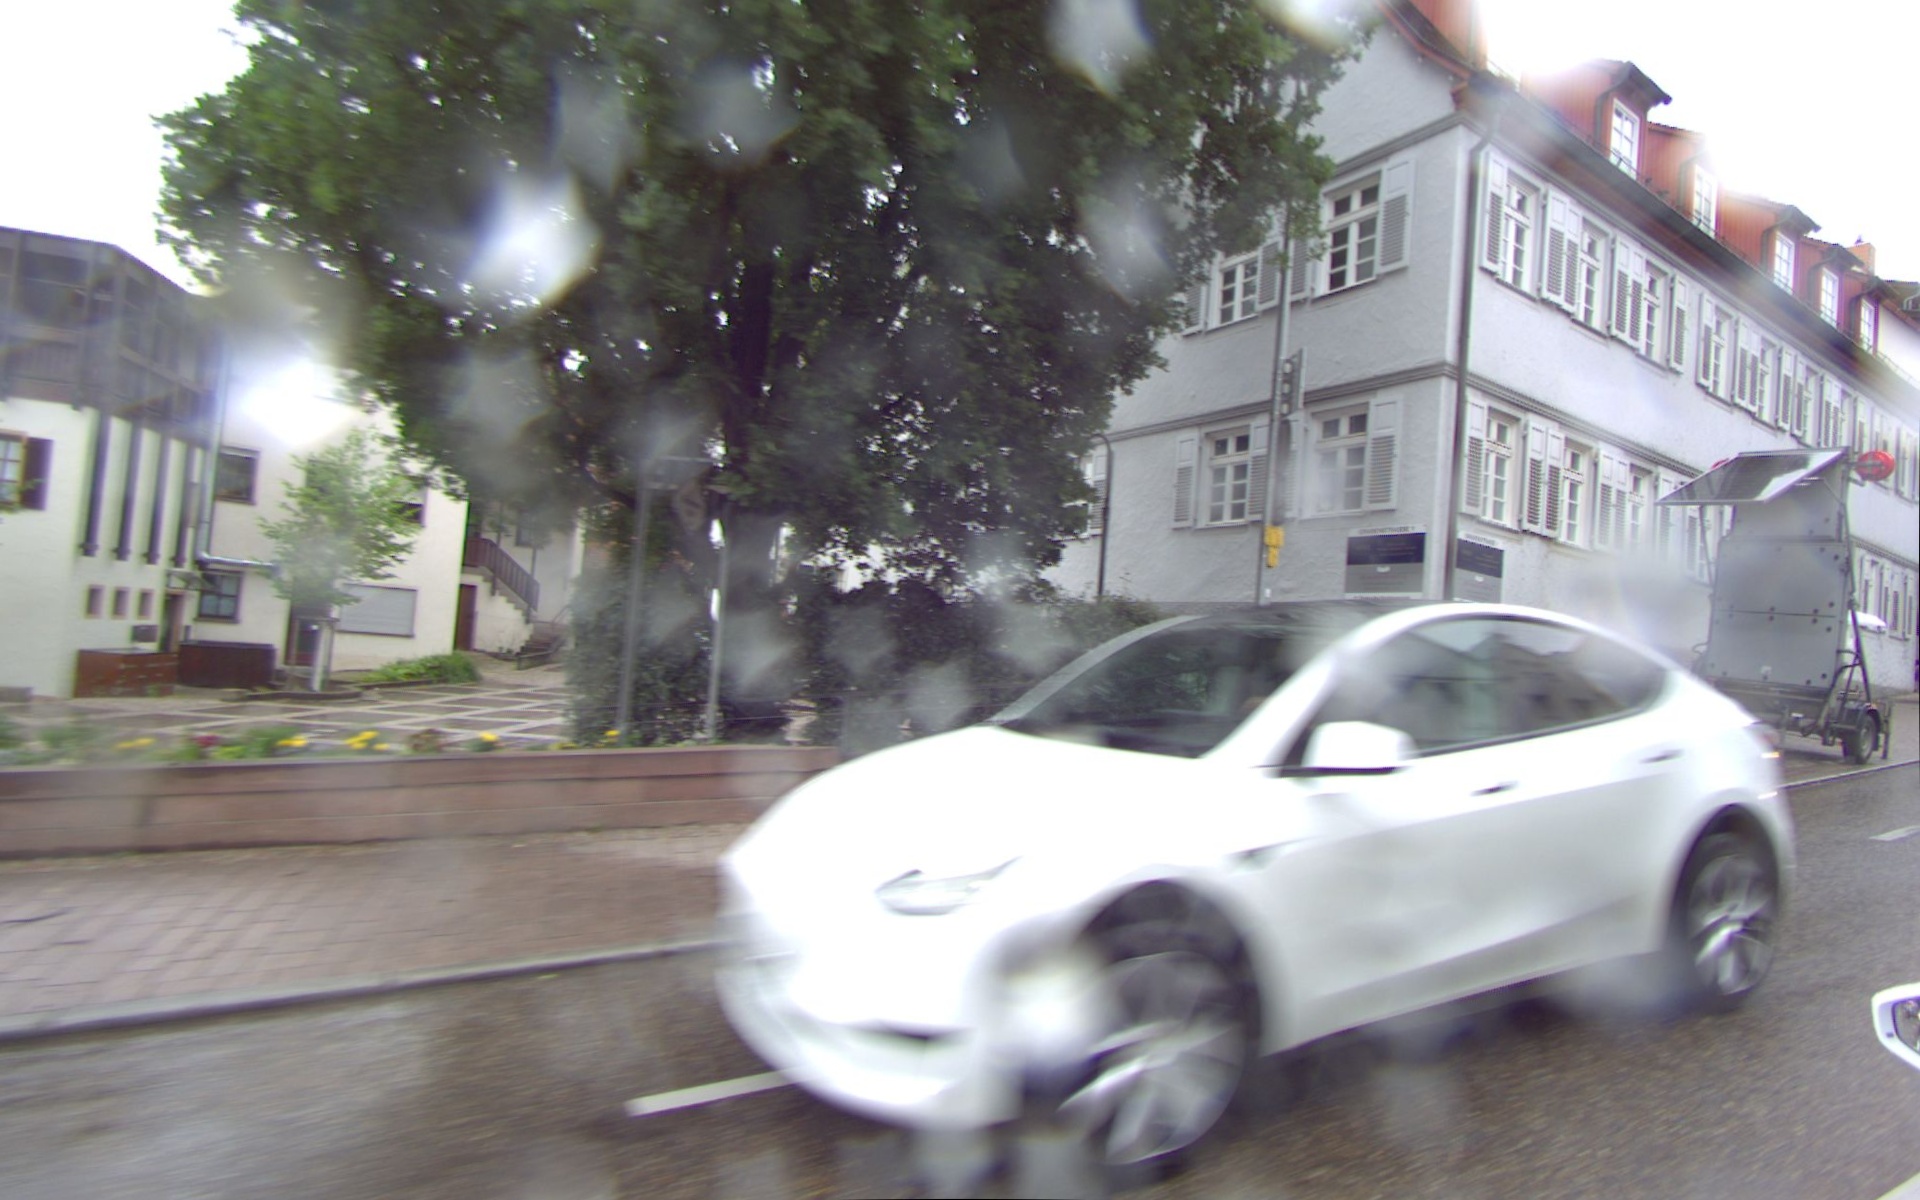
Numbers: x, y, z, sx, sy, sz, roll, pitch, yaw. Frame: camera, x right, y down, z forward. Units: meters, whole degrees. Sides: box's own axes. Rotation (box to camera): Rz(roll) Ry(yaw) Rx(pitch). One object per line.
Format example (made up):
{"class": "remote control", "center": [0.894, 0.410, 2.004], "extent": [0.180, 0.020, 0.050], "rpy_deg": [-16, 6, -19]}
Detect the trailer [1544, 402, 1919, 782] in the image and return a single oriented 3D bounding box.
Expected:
{"class": "trailer", "center": [8.958, -0.046, 11.496], "extent": [4.523, 3.581, 1.983], "rpy_deg": [1, 0, -32]}

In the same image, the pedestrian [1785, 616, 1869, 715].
{"class": "pedestrian", "center": [14.377, 1.063, 16.664], "extent": [1.032, 1.550, 0.704], "rpy_deg": [1, 1, -30]}

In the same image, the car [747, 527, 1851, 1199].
{"class": "car", "center": [1.468, 0.775, 4.111], "extent": [4.254, 1.684, 1.867], "rpy_deg": [1, -4, -28]}
